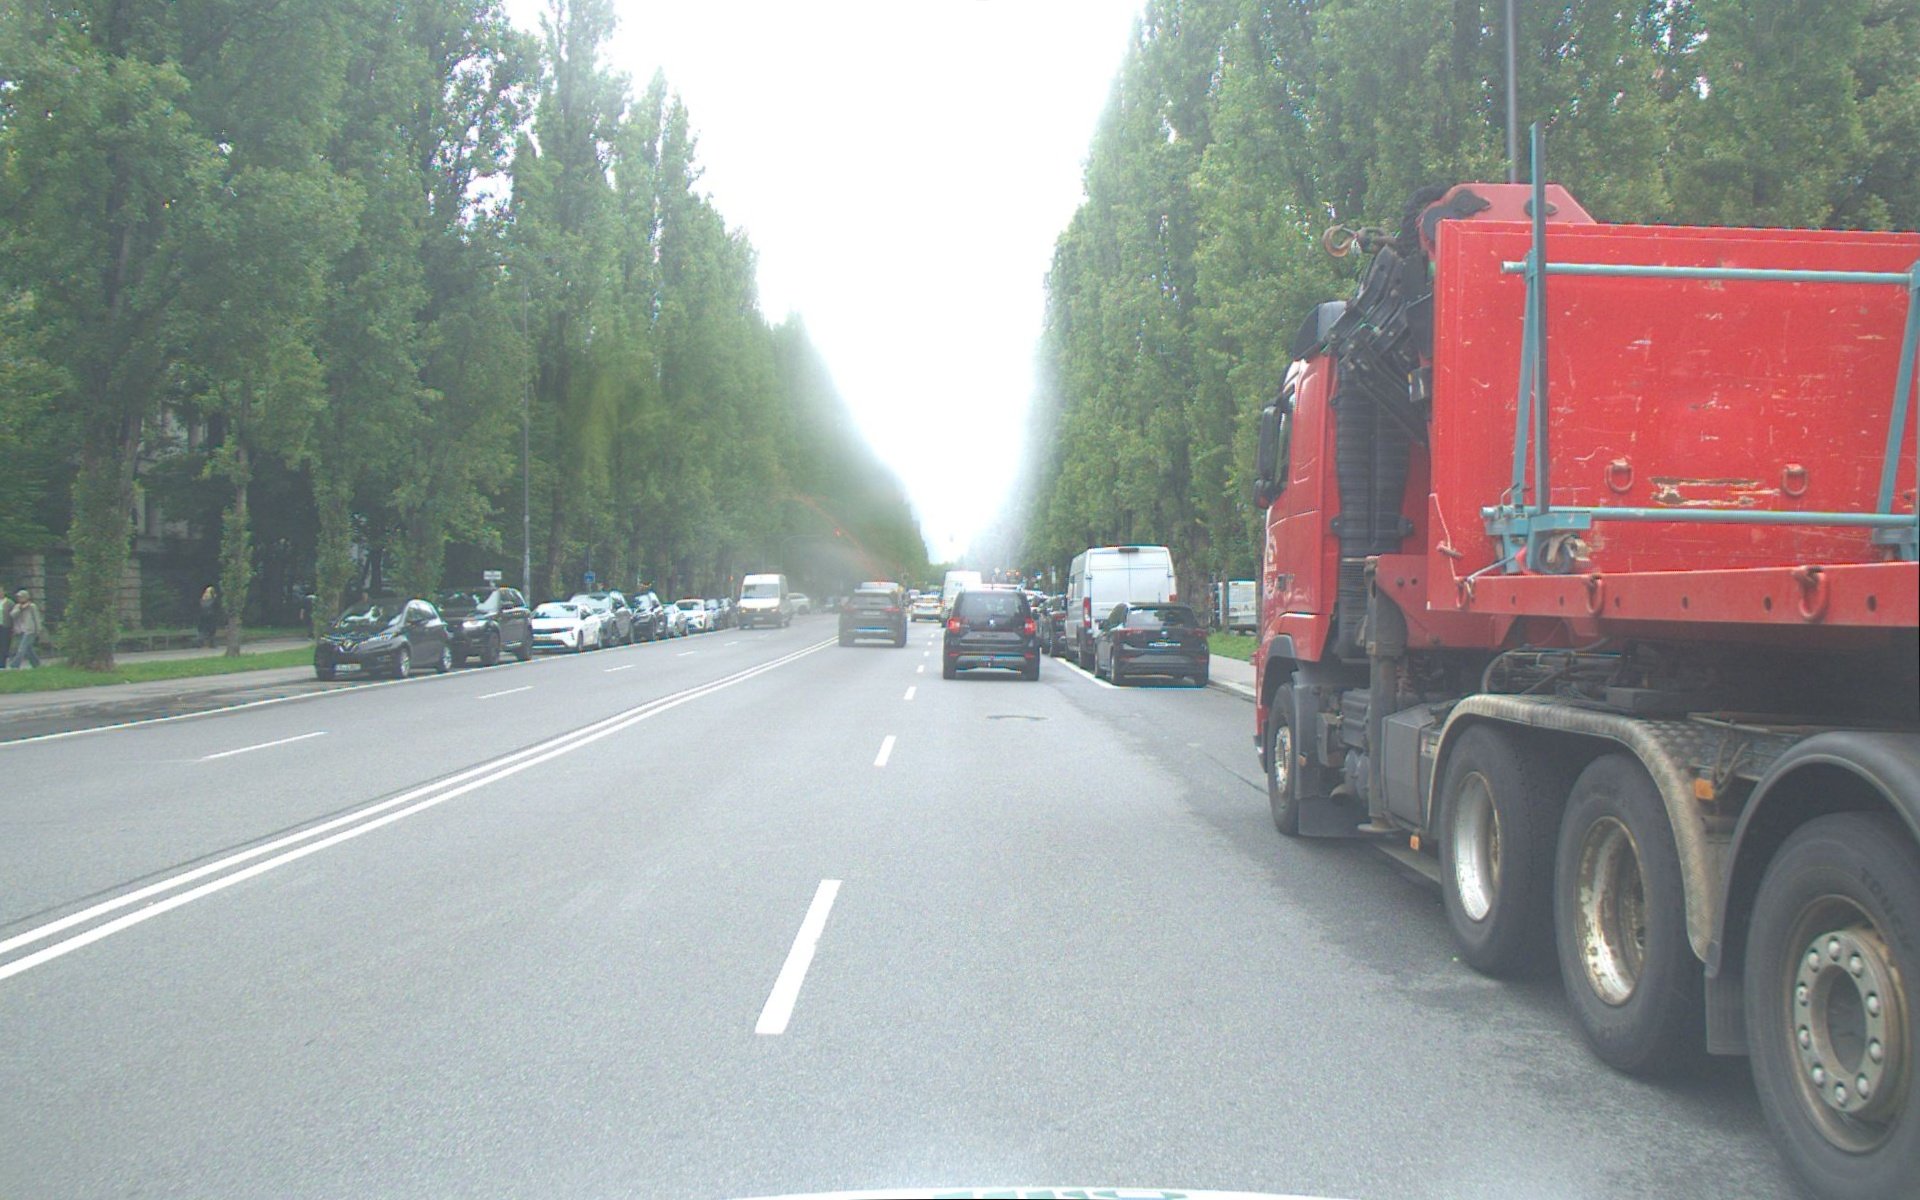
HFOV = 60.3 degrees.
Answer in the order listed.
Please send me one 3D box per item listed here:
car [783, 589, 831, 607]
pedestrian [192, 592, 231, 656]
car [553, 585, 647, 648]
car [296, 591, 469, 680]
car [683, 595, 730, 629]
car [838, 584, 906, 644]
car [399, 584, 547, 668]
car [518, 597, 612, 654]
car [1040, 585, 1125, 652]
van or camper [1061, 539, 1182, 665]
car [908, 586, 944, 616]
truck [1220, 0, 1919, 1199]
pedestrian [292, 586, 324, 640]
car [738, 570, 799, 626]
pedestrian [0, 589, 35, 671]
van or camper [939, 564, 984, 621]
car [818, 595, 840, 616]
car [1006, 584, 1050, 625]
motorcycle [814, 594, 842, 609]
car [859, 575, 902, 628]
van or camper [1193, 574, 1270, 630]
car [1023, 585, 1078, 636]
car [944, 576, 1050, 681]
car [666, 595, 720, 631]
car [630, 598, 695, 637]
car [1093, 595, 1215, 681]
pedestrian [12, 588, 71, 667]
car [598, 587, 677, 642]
[{"bbox_3d":[-12.071,-0.175,130.684,1.680,1.389,3.805,0,0,38],"label":"car"},{"bbox_3d":[-21.028,0.657,46.462,0.652,1.772,0.957,0,0,0],"label":"pedestrian"},{"bbox_3d":[-11.610,0.497,53.652,1.870,1.821,5.179,-3,0,0],"label":"car"},{"bbox_3d":[-11.673,0.669,33.768,1.905,1.611,4.389,-2,0,0],"label":"car"},{"bbox_3d":[-11.967,0.528,78.138,1.675,1.476,3.585,-3,0,-1],"label":"car"},{"bbox_3d":[-2.531,0.365,48.452,1.745,1.648,4.025,0,1,0],"label":"car"},{"bbox_3d":[-11.557,0.573,39.607,2.004,1.817,4.800,-2,0,1],"label":"car"},{"bbox_3d":[-11.455,0.705,48.217,1.669,1.484,4.272,-2,0,0],"label":"car"},{"bbox_3d":[3.176,0.447,43.654,1.749,1.677,4.416,0,1,-2],"label":"car"},{"bbox_3d":[3.515,0.019,37.215,2.095,2.584,6.417,0,0,0],"label":"van or camper"},{"bbox_3d":[-1.867,0.049,91.621,1.953,1.588,3.999,0,0,-1],"label":"car"},{"bbox_3d":[3.365,-0.429,6.881,2.787,3.626,10.277,0,0,-1],"label":"truck"},{"bbox_3d":[-21.655,0.436,54.944,0.652,1.772,0.957,0,0,0],"label":"pedestrian"},{"bbox_3d":[-9.169,-0.103,79.650,2.182,2.526,6.757,-2,0,-1],"label":"car"},{"bbox_3d":[-19.197,0.598,33.286,0.703,1.633,0.813,0,0,-1],"label":"pedestrian"},{"bbox_3d":[0.043,-0.347,77.281,1.935,2.593,4.024,0,0,-2],"label":"van or camper"},{"bbox_3d":[-11.923,0.493,150.817,1.654,1.814,3.775,0,0,0],"label":"car"},{"bbox_3d":[3.302,0.198,80.996,1.814,1.914,4.167,0,1,-2],"label":"car"},{"bbox_3d":[-11.315,0.133,142.124,2.315,1.292,0.930,0,0,0],"label":"motorcycle"},{"bbox_3d":[-3.482,0.088,72.119,1.746,2.149,4.022,2,-2,-3],"label":"car"},{"bbox_3d":[10.088,0.062,61.786,2.033,1.967,5.369,1,0,0],"label":"van or camper"},{"bbox_3d":[3.183,0.332,58.728,1.707,1.705,4.580,0,1,0],"label":"car"},{"bbox_3d":[0.658,0.489,30.969,1.817,1.800,4.000,2,0,0],"label":"car"},{"bbox_3d":[-11.879,0.574,73.812,1.735,1.477,4.232,-3,0,-1],"label":"car"},{"bbox_3d":[-11.659,0.667,65.049,1.789,1.357,4.233,-3,0,0],"label":"car"},{"bbox_3d":[3.447,0.636,30.017,1.642,1.445,3.999,0,0,-2],"label":"car"},{"bbox_3d":[-18.467,0.543,33.266,0.703,1.575,0.875,0,0,-1],"label":"pedestrian"},{"bbox_3d":[-11.543,0.487,59.520,1.902,1.798,4.894,-3,0,-1],"label":"car"}]
